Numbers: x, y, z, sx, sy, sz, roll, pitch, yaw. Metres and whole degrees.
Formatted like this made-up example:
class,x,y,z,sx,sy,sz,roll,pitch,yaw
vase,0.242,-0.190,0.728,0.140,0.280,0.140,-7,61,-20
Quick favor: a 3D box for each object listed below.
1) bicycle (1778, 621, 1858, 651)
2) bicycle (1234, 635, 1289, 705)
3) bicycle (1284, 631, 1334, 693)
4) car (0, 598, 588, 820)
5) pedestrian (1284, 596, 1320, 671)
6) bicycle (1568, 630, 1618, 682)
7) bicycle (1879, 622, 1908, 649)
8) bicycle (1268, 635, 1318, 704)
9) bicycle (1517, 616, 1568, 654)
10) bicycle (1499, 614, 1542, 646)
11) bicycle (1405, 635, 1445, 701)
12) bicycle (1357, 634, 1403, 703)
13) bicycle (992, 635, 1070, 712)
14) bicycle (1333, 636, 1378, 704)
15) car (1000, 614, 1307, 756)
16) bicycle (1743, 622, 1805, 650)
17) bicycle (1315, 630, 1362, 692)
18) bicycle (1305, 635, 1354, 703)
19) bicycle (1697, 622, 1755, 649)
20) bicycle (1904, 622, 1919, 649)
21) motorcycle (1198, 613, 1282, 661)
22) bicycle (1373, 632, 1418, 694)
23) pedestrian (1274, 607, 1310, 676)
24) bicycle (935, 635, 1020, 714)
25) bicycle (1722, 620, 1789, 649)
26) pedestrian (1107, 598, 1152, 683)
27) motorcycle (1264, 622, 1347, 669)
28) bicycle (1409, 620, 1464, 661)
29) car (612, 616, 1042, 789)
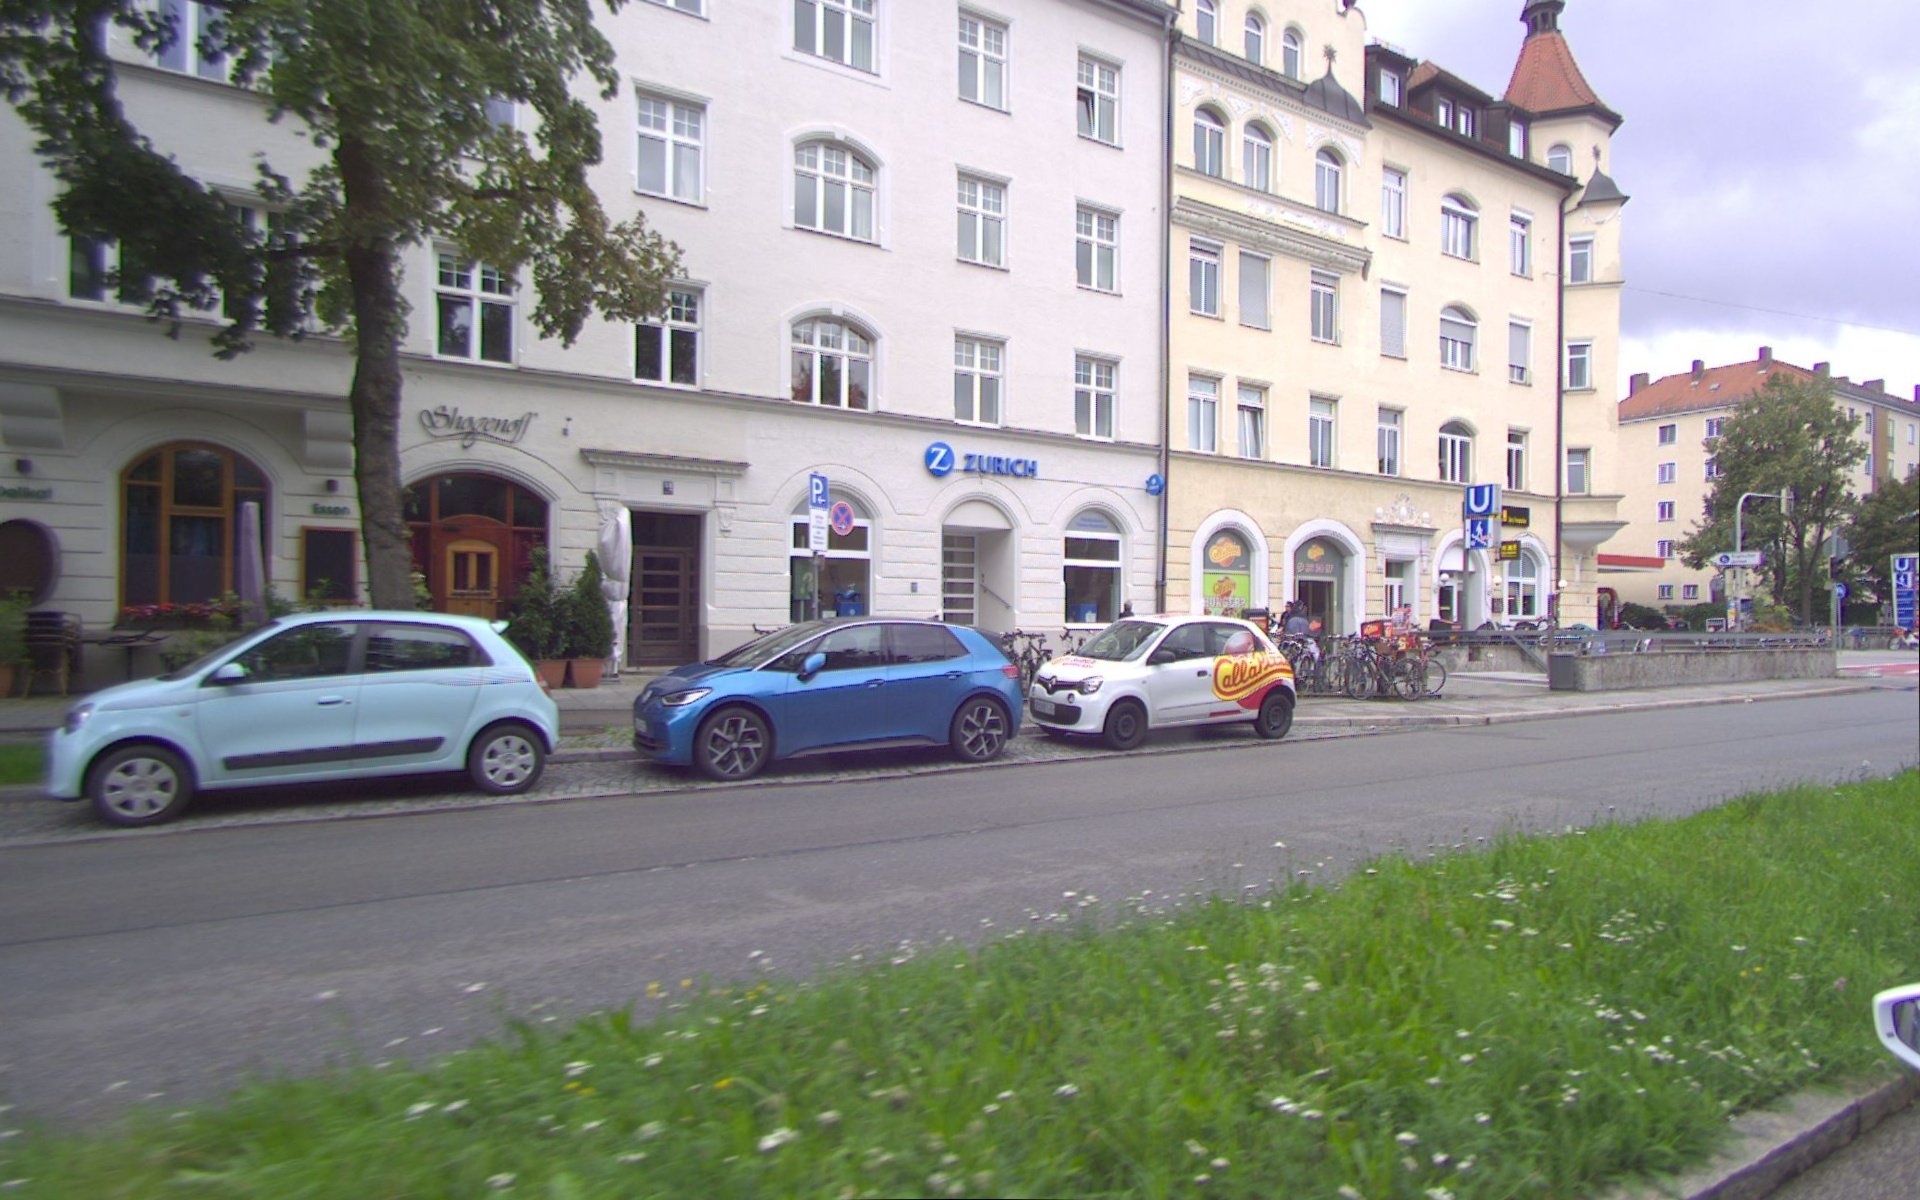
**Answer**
class,x,y,z,sx,sy,sz,roll,pitch,yaw
bicycle,39.779,1.661,46.619,2.664,1.268,0.792,2,1,31
bicycle,5.249,1.186,17.440,0.376,1.130,1.675,0,0,36
bicycle,6.788,1.174,19.495,0.390,1.130,1.807,0,0,36
car,-5.416,0.777,8.656,3.913,1.527,1.802,1,0,-30
pedestrian,7.975,0.774,23.435,0.583,1.719,0.943,0,0,33
bicycle,14.403,1.247,22.851,1.798,1.130,0.392,1,0,-39
bicycle,43.754,1.641,47.070,2.166,1.252,0.603,1,-1,-37
bicycle,5.863,1.200,17.660,0.325,1.130,1.675,0,0,36
bicycle,15.594,0.934,26.890,1.526,0.993,0.470,1,0,-30
bicycle,17.696,0.955,31.728,1.526,0.993,0.470,1,0,-30
bicycle,8.513,1.219,18.357,0.325,1.130,1.675,0,0,36
bicycle,7.431,1.181,17.747,0.362,1.130,1.675,0,0,36
bicycle,1.189,1.164,16.367,0.539,1.130,1.878,0,0,28
bicycle,7.065,1.217,17.905,0.325,1.130,1.675,0,0,36
car,2.541,0.997,13.065,3.742,1.606,1.643,1,0,-28
bicycle,38.244,1.689,47.198,0.760,1.252,2.161,1,-1,-40
bicycle,7.384,1.159,19.555,0.390,1.130,1.807,0,0,36
bicycle,6.616,1.207,17.966,0.361,1.130,1.675,0,0,36
bicycle,37.241,1.711,48.848,0.759,1.252,2.163,1,-1,-38
bicycle,44.775,1.650,46.908,2.166,1.252,0.603,1,-1,-37
motorcycle,6.932,0.905,24.972,1.947,1.145,0.610,1,0,11
bicycle,8.484,1.195,19.542,0.390,1.130,1.807,0,0,36
pedestrian,8.061,0.997,24.391,0.773,1.653,0.420,1,0,-27
bicycle,0.310,1.141,15.868,0.539,1.130,1.878,0,0,28
bicycle,38.305,1.661,48.398,0.785,1.268,2.374,1,1,-40
pedestrian,3.507,0.819,20.787,0.762,1.719,0.540,1,0,-32
motorcycle,8.893,1.175,25.929,1.947,1.137,0.610,1,0,11
bicycle,11.963,1.007,25.228,1.526,0.993,0.470,1,0,-30
car,-1.374,0.957,10.822,4.240,1.527,1.802,1,0,-30
